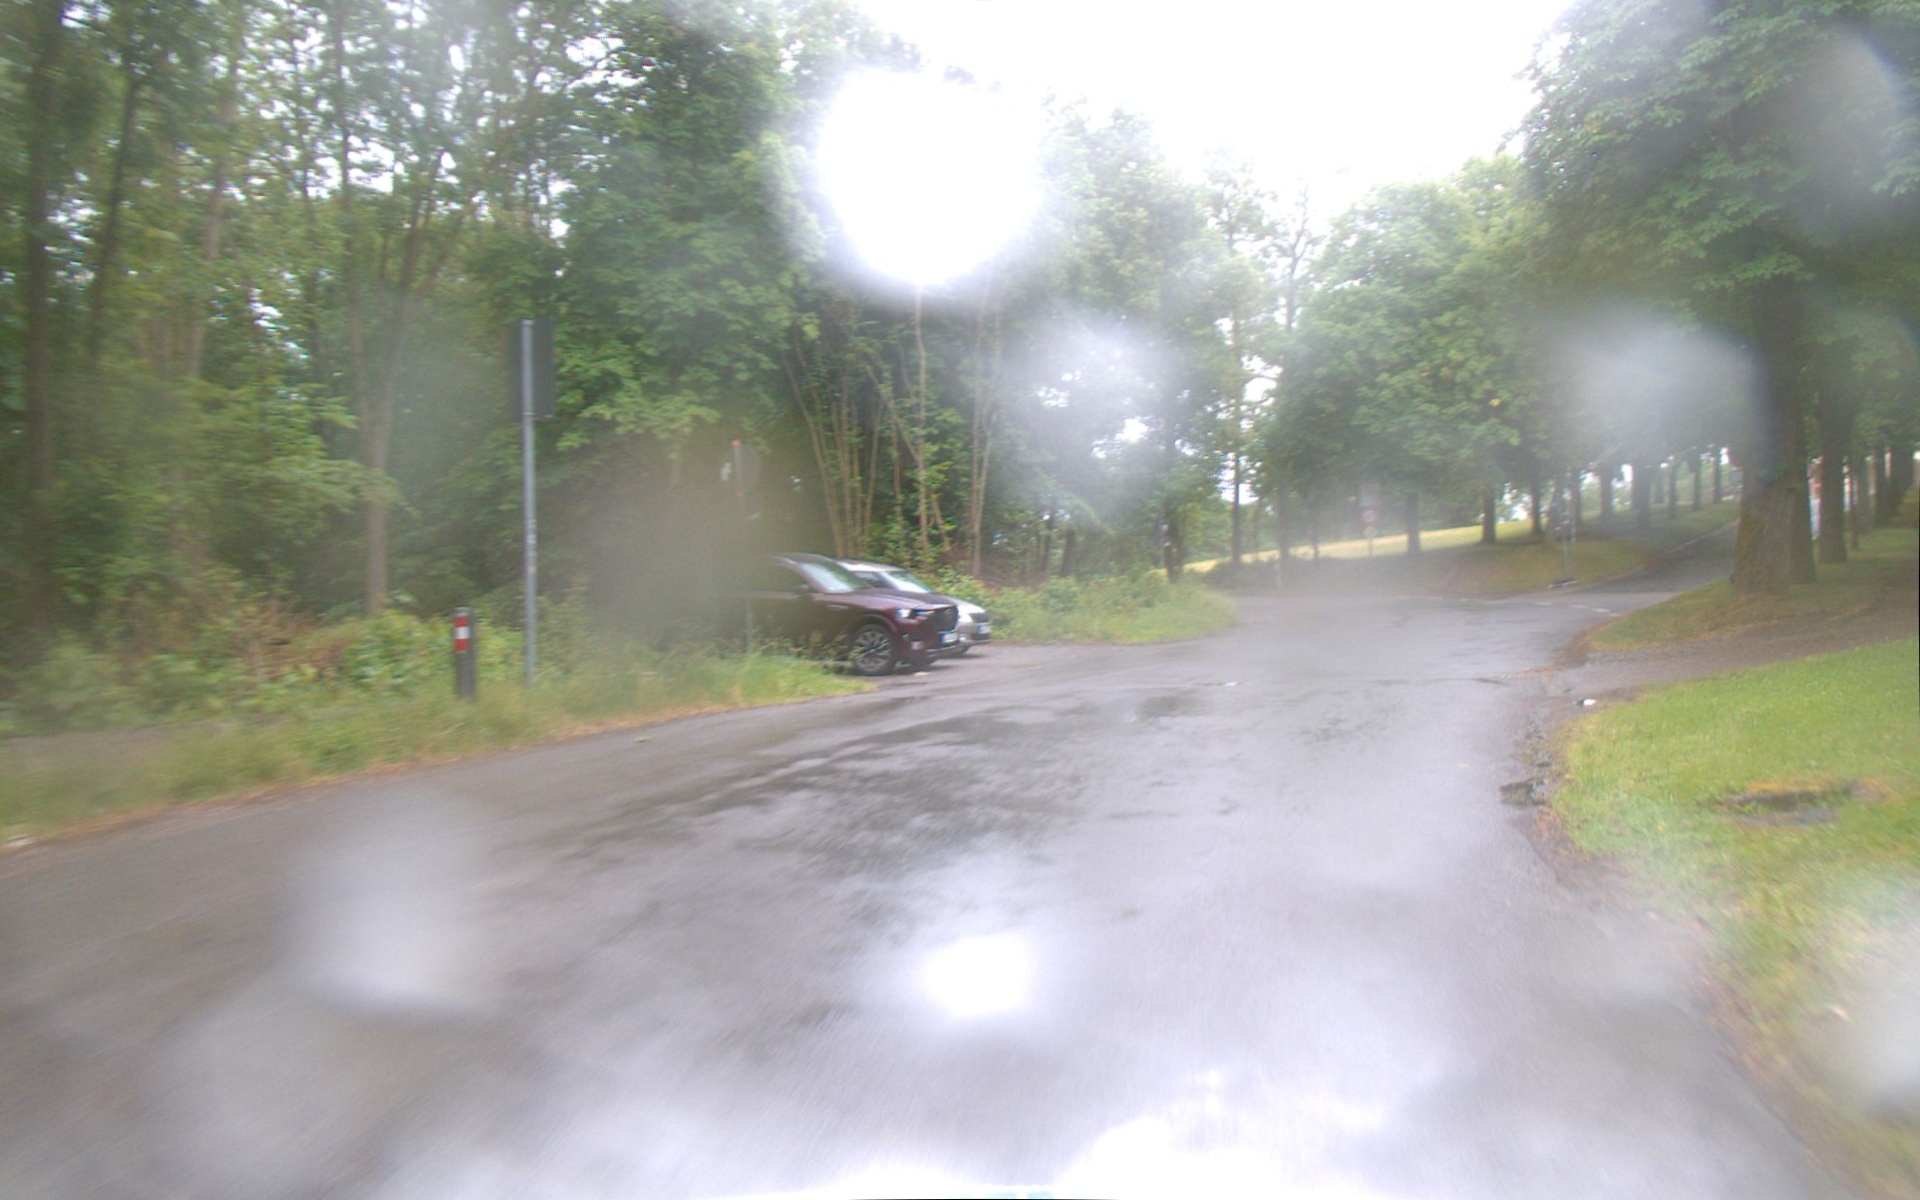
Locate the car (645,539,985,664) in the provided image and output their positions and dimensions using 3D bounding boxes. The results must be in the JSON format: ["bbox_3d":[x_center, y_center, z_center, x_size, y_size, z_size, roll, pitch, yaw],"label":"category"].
[{"bbox_3d":[-2.174,-0.007,24.748,4.727,1.706,1.876,0,2,23],"label":"car"}]

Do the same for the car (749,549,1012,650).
[{"bbox_3d":[-1.339,-0.034,27.860,4.053,1.581,1.773,0,3,24],"label":"car"}]
